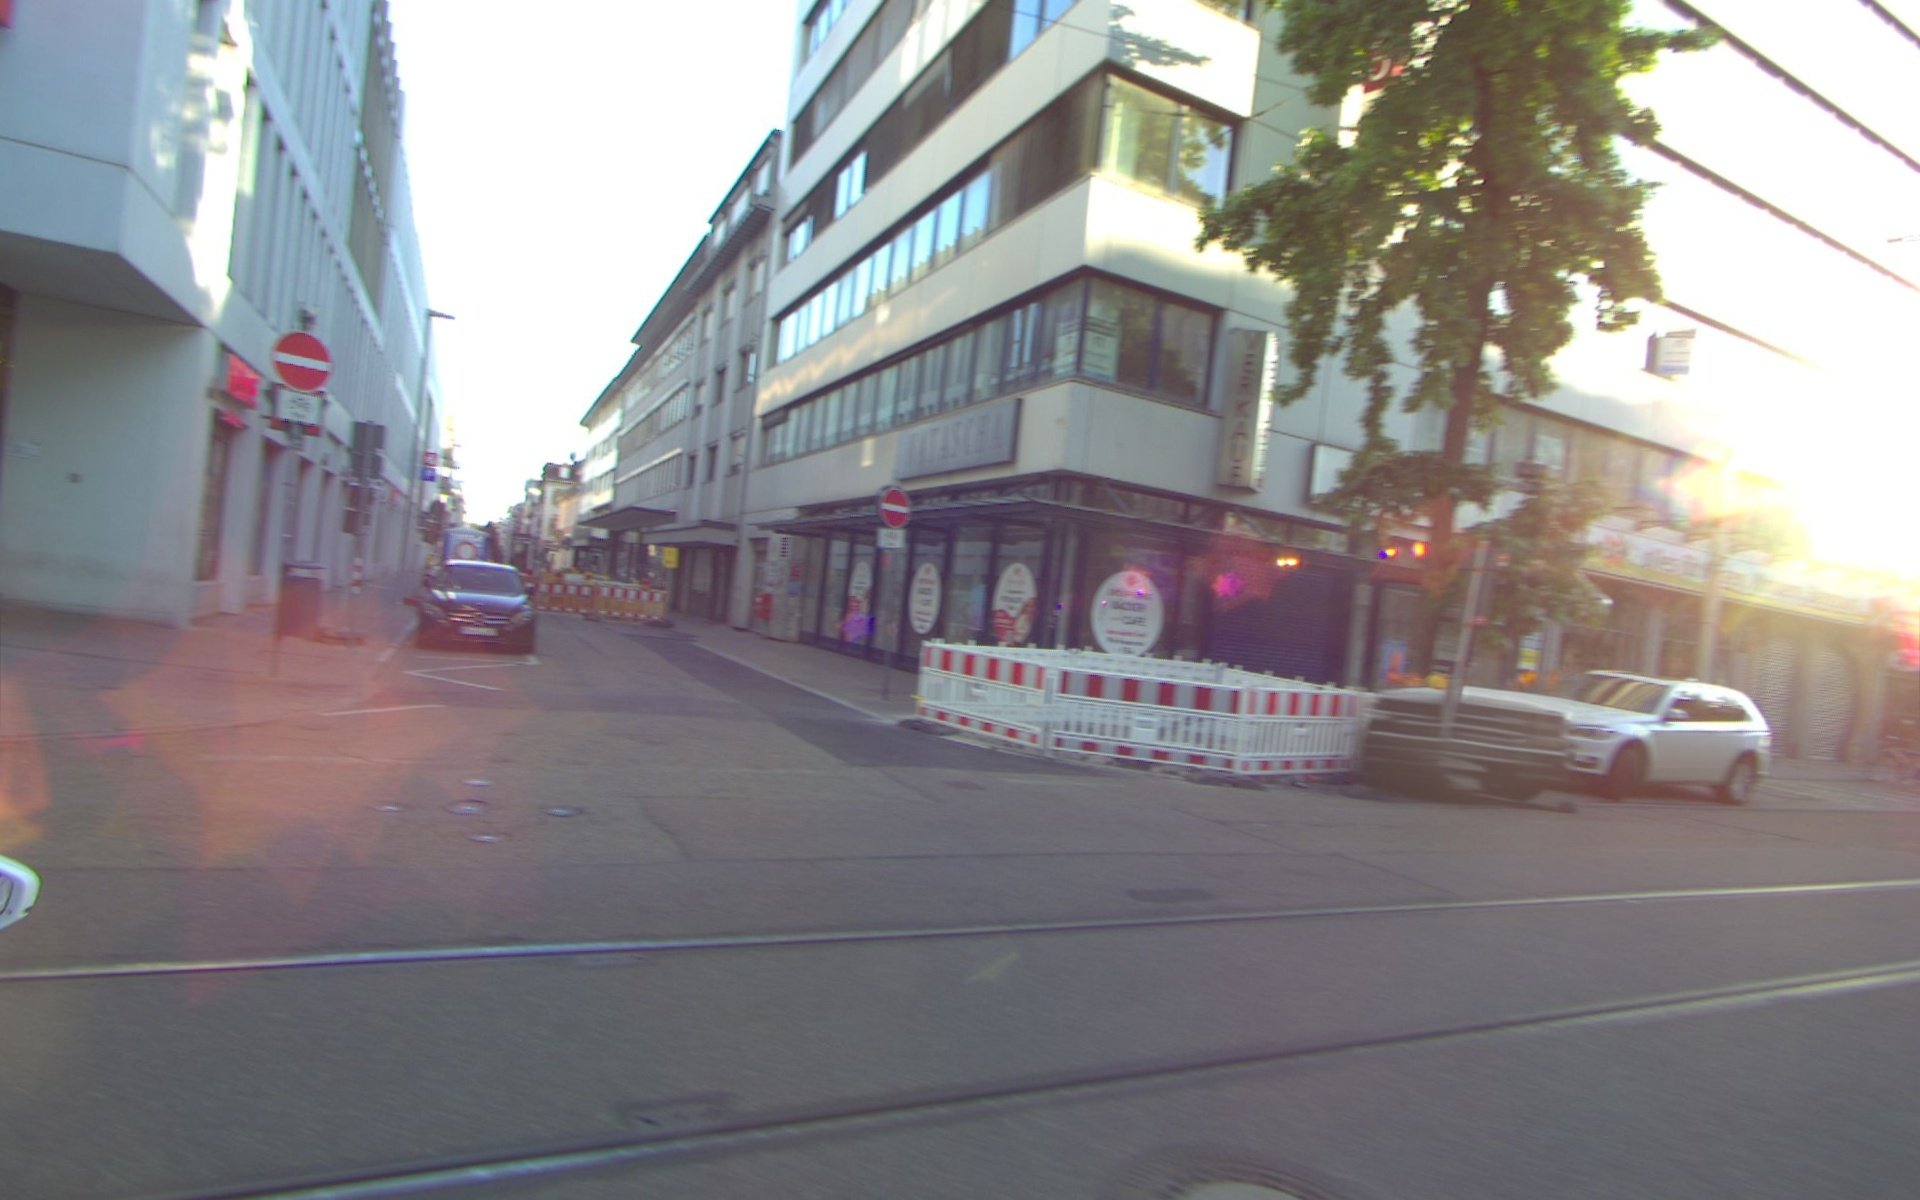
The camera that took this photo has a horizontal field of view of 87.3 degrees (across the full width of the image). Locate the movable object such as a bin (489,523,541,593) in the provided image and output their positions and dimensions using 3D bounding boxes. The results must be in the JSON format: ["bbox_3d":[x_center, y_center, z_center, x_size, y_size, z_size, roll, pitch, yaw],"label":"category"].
[{"bbox_3d":[-17.346,-1.611,39.278,1.420,2.524,1.751,6,0,-18],"label":"movable object such as a bin"}]

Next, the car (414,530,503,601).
[{"bbox_3d":[-12.722,-0.863,25.724,1.756,1.493,4.128,6,0,-25],"label":"car"}]

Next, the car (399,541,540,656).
[{"bbox_3d":[-8.532,-0.069,17.694,1.879,1.632,4.128,6,0,-25],"label":"car"}]

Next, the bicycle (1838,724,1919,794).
[{"bbox_3d":[19.986,3.409,21.098,0.750,1.174,2.154,6,3,-20],"label":"bicycle"}]

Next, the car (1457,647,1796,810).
[{"bbox_3d":[10.026,1.942,15.117,4.612,1.794,1.986,7,2,-25],"label":"car"}]
